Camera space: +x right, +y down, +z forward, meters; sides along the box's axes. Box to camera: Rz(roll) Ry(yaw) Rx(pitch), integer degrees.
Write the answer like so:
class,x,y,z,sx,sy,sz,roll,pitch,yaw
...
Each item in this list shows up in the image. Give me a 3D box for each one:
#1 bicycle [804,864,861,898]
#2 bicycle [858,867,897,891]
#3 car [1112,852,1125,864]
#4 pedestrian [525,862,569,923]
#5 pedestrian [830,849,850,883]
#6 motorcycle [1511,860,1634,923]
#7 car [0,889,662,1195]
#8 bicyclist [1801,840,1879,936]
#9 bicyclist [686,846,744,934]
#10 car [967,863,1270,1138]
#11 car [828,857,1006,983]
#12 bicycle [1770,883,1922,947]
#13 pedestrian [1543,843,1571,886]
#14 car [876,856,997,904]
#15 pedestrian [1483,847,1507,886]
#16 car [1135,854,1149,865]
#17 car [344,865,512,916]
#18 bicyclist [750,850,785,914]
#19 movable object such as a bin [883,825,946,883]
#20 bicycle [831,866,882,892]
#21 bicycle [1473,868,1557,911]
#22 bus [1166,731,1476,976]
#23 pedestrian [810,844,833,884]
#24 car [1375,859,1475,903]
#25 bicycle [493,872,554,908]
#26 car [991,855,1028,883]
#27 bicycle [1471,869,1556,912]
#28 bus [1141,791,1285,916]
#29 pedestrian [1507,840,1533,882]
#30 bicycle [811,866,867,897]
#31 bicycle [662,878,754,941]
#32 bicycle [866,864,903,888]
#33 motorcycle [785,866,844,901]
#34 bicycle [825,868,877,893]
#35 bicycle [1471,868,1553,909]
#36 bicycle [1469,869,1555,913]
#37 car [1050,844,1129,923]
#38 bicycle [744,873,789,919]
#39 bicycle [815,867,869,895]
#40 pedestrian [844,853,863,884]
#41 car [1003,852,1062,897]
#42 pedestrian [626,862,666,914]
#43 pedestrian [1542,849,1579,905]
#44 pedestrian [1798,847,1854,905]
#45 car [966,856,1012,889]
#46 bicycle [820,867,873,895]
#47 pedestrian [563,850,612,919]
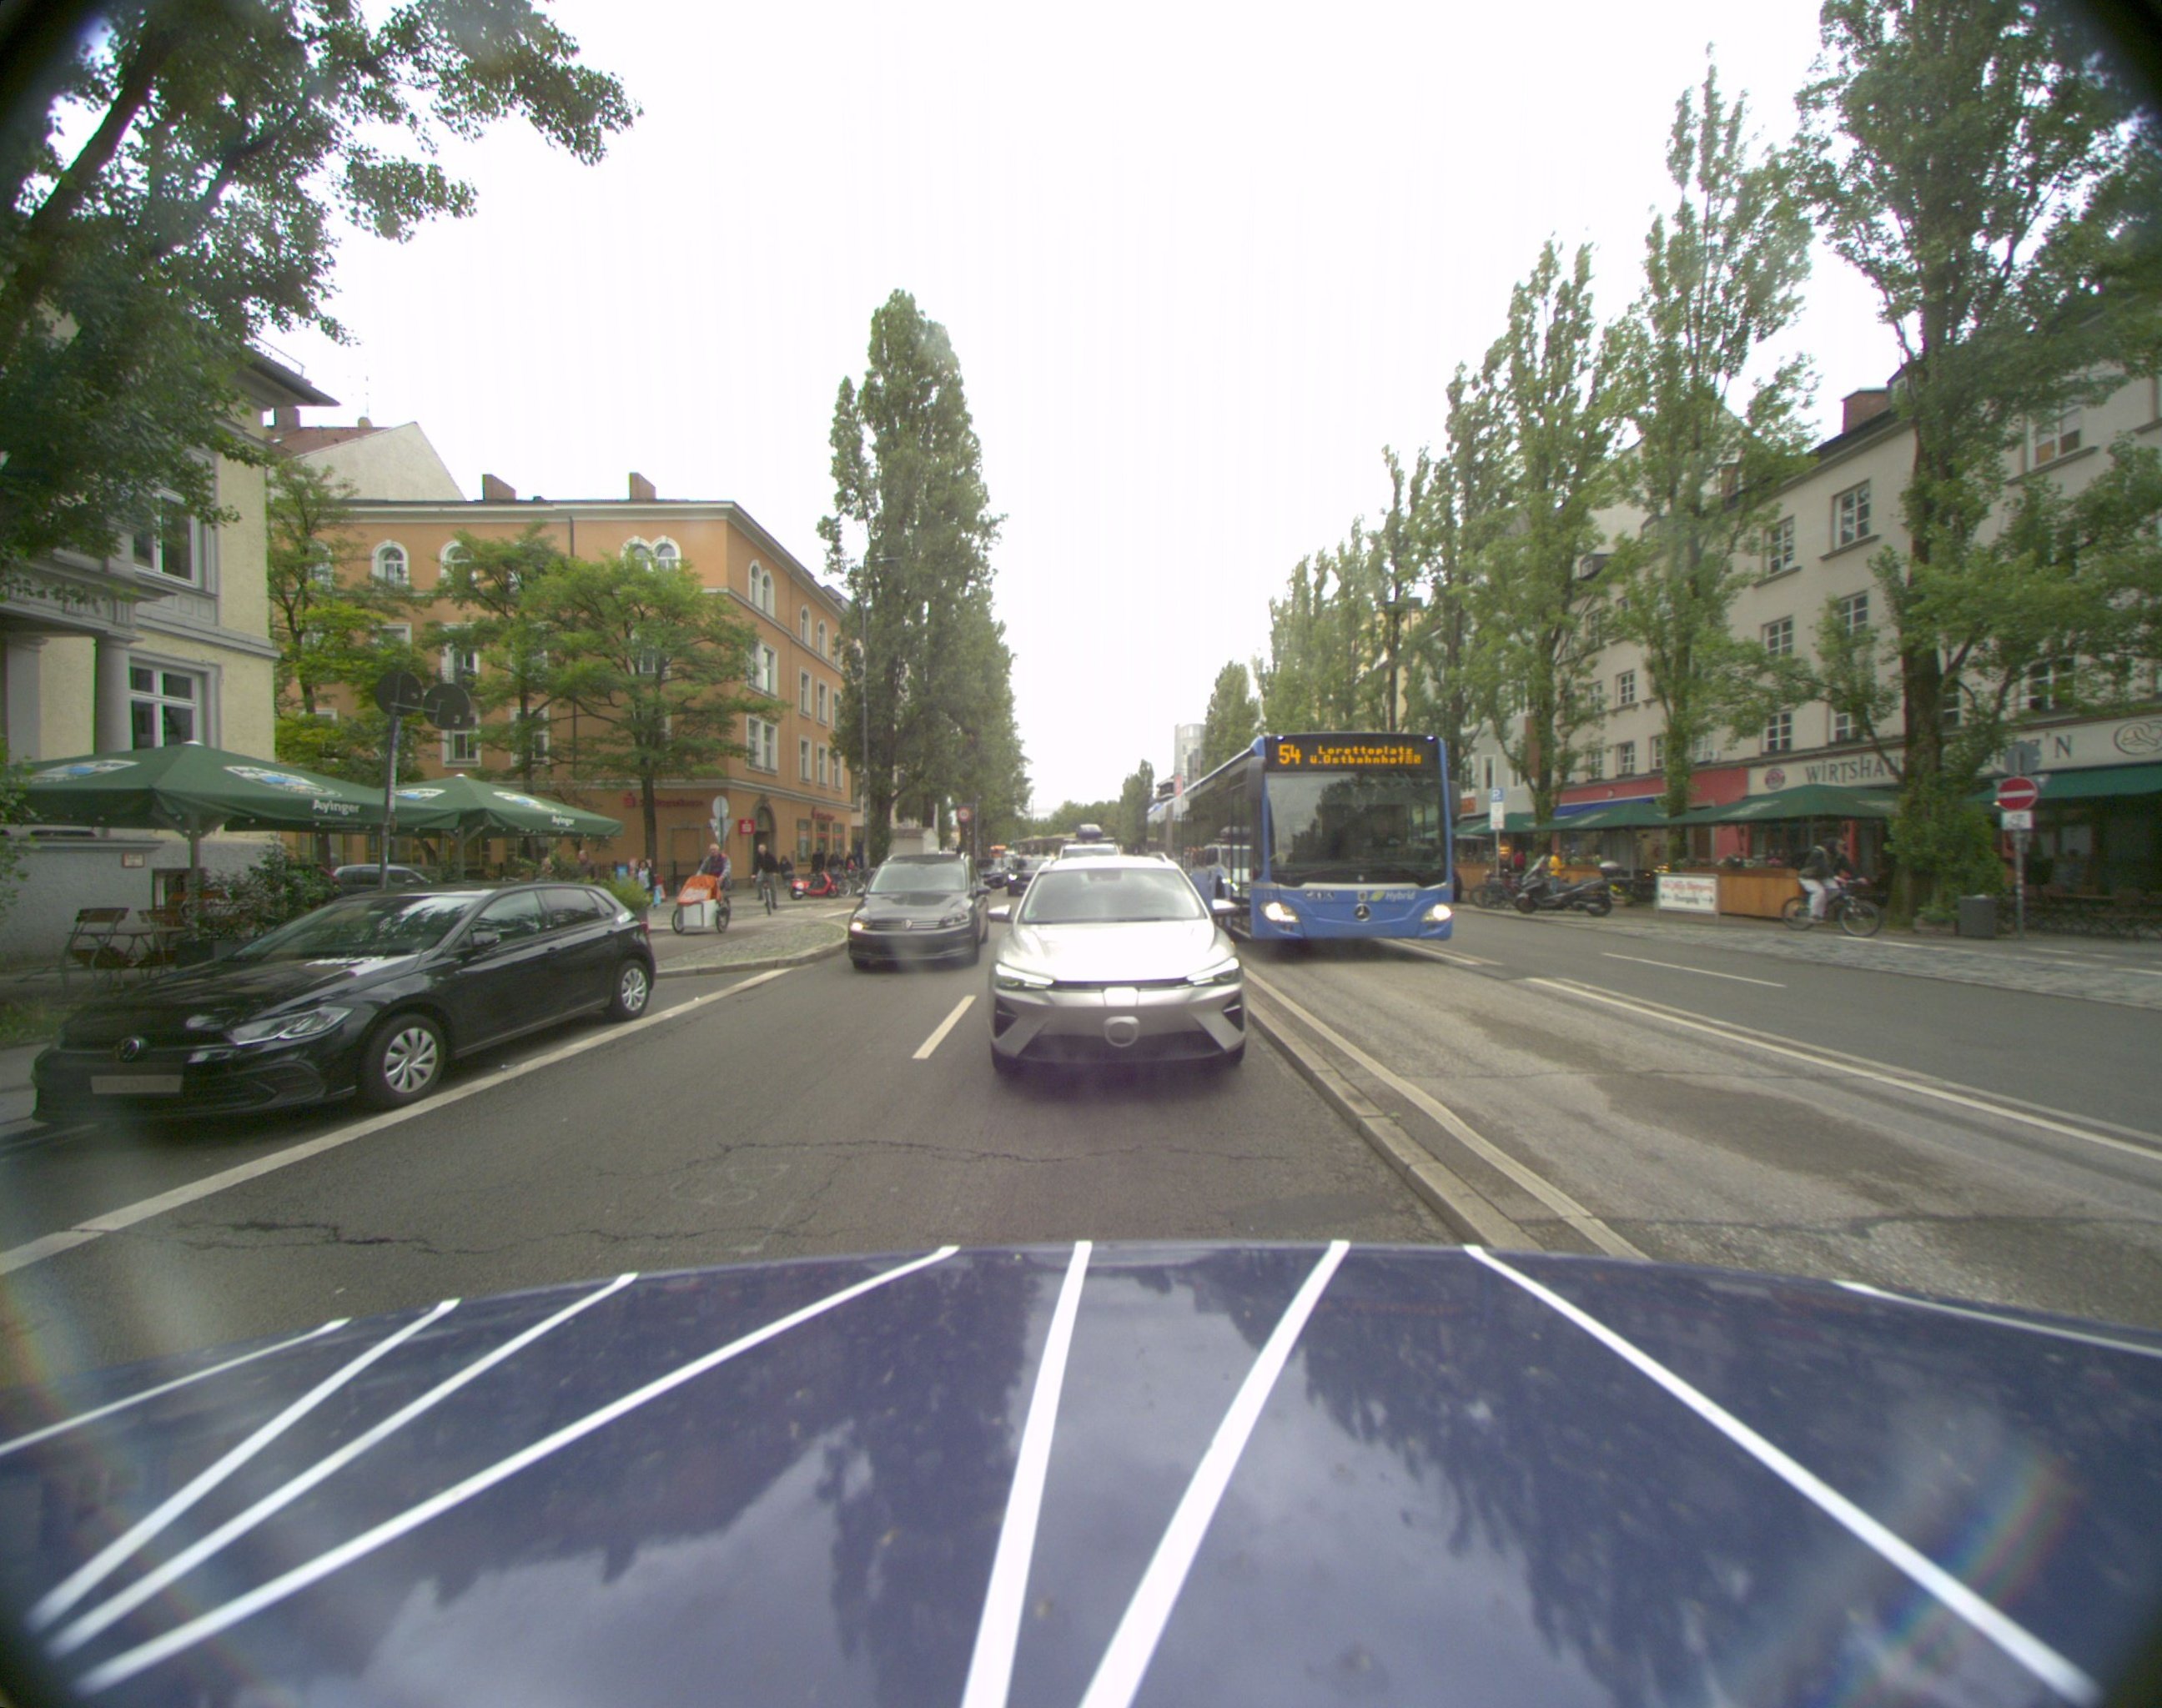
class,x,y,z,sx,sy,sz,roll,pitch,yaw
bicycle,-9.349,1.024,28.608,1.945,1.232,0.561,-1,1,1
bicycle,-8.964,1.092,33.453,1.602,1.004,0.342,-1,1,-6
car,6.204,0.664,126.564,1.998,2.002,4.000,0,0,1
pedestrian,-14.218,1.008,20.241,0.699,1.562,0.575,-2,1,3
pedestrian,-11.929,0.596,37.638,0.746,1.651,0.770,-2,1,-7
motorcycle,11.975,0.864,18.614,0.747,1.406,2.448,0,0,-33
car,-5.237,1.084,5.994,1.698,1.408,3.950,-1,0,-1
bicyclist,13.769,0.598,13.804,0.606,1.695,0.816,-1,1,2
bicyclist,-7.516,0.724,15.631,0.830,1.747,0.667,-1,1,-2
car,0.225,0.896,6.521,1.742,1.510,4.033,-2,0,0
car,-2.363,0.879,12.120,1.882,1.582,4.192,-2,0,0
bicycle,13.775,1.063,13.790,0.613,0.963,2.174,-1,0,1
pedestrian,21.334,0.451,34.053,0.699,1.915,0.905,0,1,4
car,-4.827,0.840,25.892,1.613,1.425,4.011,-1,0,35
pedestrian,20.564,0.592,37.759,0.699,1.915,0.905,0,1,4
car,9.063,0.821,113.083,1.718,1.532,4.076,1,0,1
car,-22.251,1.214,26.020,3.997,1.511,1.906,-2,1,-1
bicyclist,-8.380,0.734,20.331,0.742,1.677,0.748,-1,1,-13
movable object such as a bin,-9.363,-0.003,43.072,2.445,3.119,4.543,1,0,1
bicycle,-9.440,1.047,31.998,1.945,1.078,0.561,-1,1,1
bicycle,11.965,0.972,21.000,1.976,1.119,0.283,-1,1,37
bus,3.454,-0.021,14.186,2.696,2.932,10.052,0,0,0
pedestrian,-12.733,0.489,37.325,0.840,1.937,0.801,-2,1,-6
car,12.278,0.926,27.412,1.760,1.414,3.784,1,0,-2
bicycle,-21.923,1.411,29.880,1.945,1.364,0.561,-2,1,1
car,-4.356,0.879,46.869,1.789,1.604,4.498,-2,0,0
bicycle,11.791,0.981,20.775,1.976,1.119,0.283,-1,1,37
bus,3.514,-0.024,22.983,2.690,2.932,10.052,0,0,0
pedestrian,20.320,0.299,35.180,0.699,1.915,0.905,0,1,4
bicycle,-9.310,1.052,29.251,1.945,1.130,0.561,-1,1,1
bicycle,-7.524,1.093,15.450,0.887,1.113,2.101,-1,0,-3
bicycle,-9.141,1.032,35.305,1.610,1.078,0.321,-1,1,-22
motorcycle,-9.697,1.055,27.646,1.963,1.214,0.514,-1,1,-25
bicycle,-9.450,1.080,31.250,1.945,1.004,0.561,-1,1,1
bicycle,12.273,0.965,21.690,1.976,1.119,0.343,-1,1,37
bicycle,11.600,0.985,20.492,1.976,1.119,0.361,-1,1,37
car,0.204,0.670,20.849,1.839,1.831,5.129,-2,1,0
bicycle,-8.382,1.094,20.328,0.738,1.113,2.099,-1,0,-13
bicycle,-9.403,1.067,29.902,1.945,1.082,0.561,-1,1,1
pedestrian,-11.963,0.764,39.943,0.745,1.562,0.614,-2,1,3
car,-1.935,0.791,31.620,1.705,1.683,4.005,-2,0,6
pedestrian,-13.427,1.037,23.473,0.745,1.562,0.664,-2,1,3
pedestrian,14.941,0.694,23.692,0.731,1.716,0.700,0,1,1
pedestrian,21.415,0.626,21.866,0.699,1.637,0.929,0,1,6
car,-4.729,0.915,39.495,1.789,1.544,4.498,-2,0,0
bicycle,-9.463,1.080,30.646,1.945,1.069,0.561,-1,1,1
pedestrian,-12.902,0.783,19.893,0.699,1.756,0.732,-2,1,4
